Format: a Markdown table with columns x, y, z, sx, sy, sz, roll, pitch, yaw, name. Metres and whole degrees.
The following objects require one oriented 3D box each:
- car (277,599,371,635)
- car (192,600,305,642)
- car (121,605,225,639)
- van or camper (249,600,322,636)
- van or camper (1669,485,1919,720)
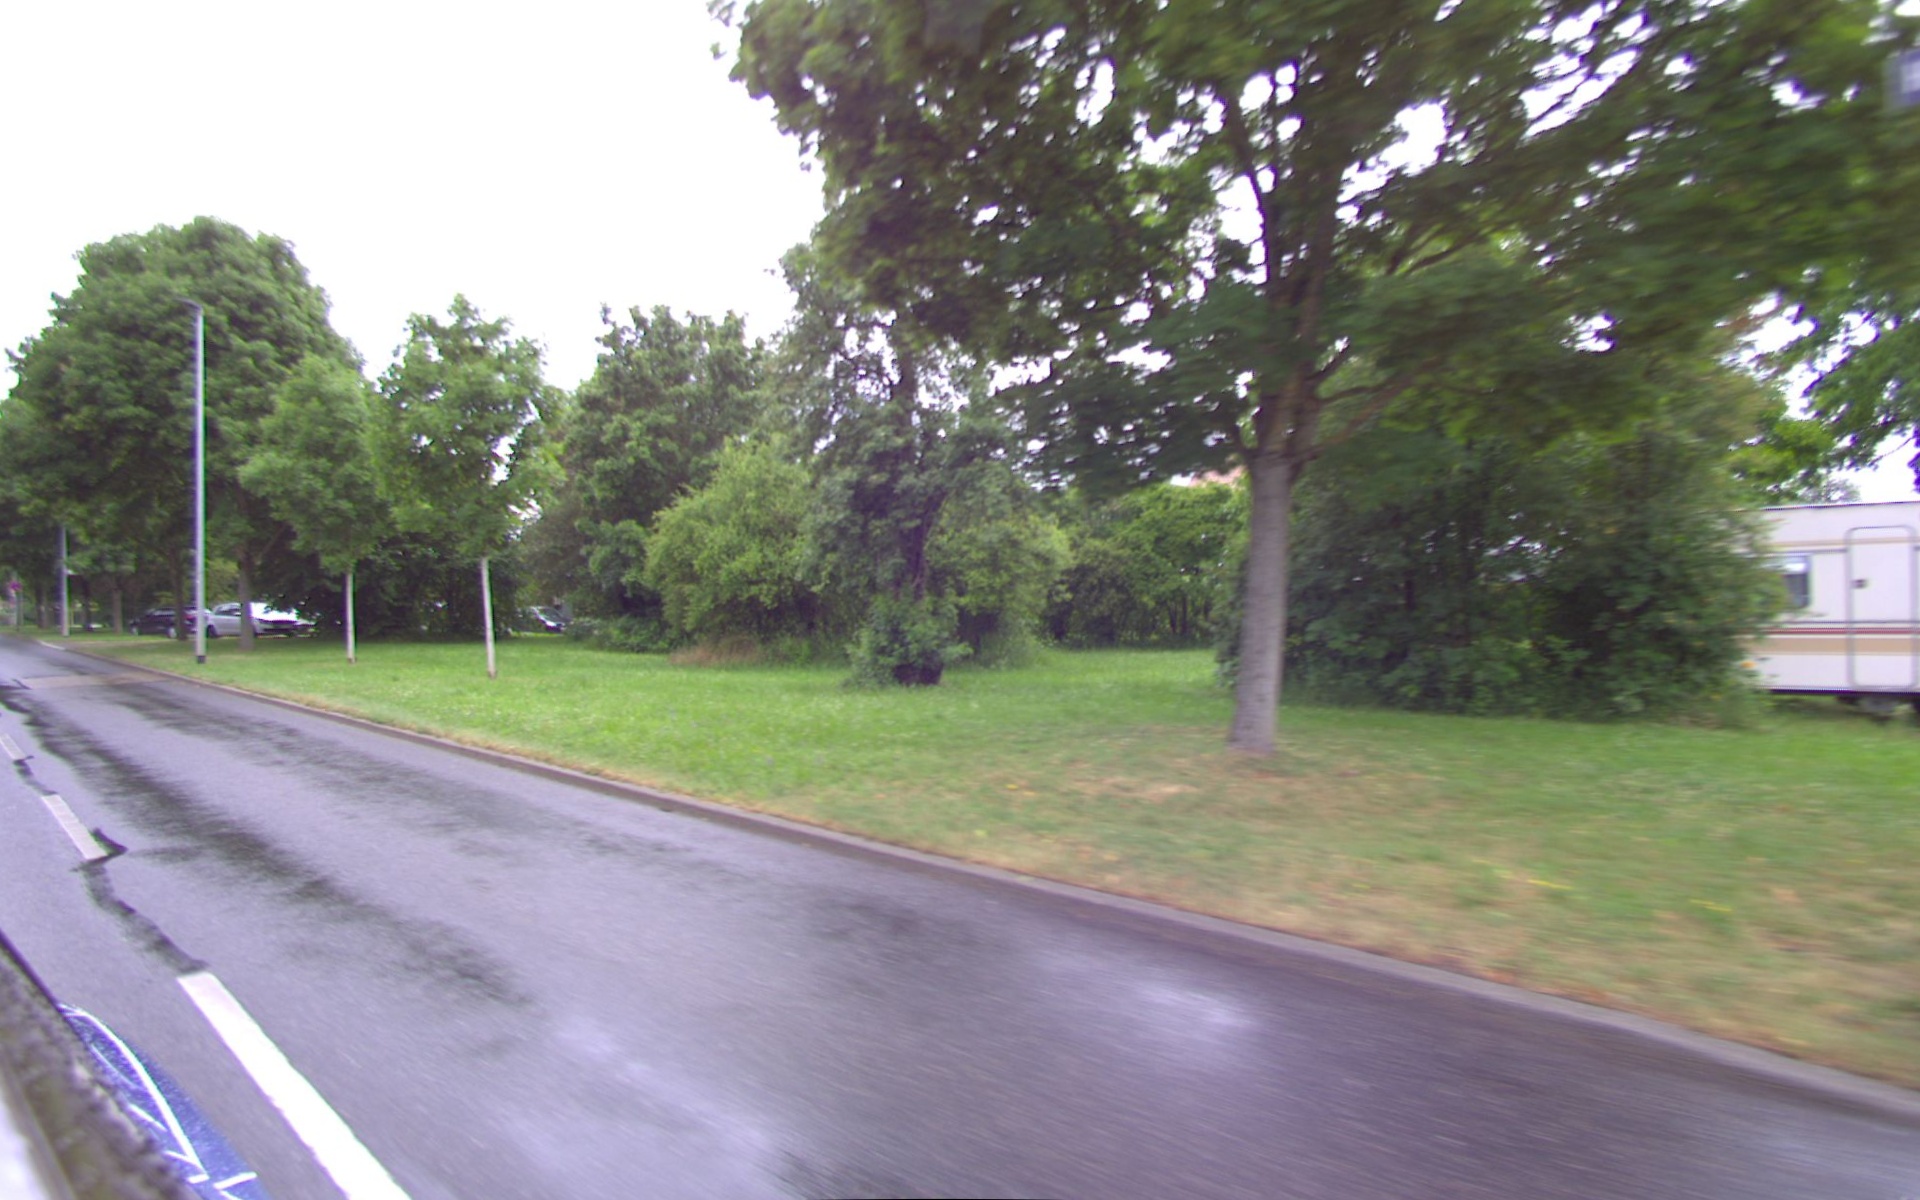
| x | y | z | sx | sy | sz | roll | pitch | yaw | name |
| --- | --- | --- | --- | --- | --- | --- | --- | --- | --- |
| -34.103 | 0.885 | 54.234 | 4.868 | 1.783 | 1.894 | 1 | 0 | 24 | car |
| -28.270 | 0.828 | 40.209 | 4.193 | 1.441 | 1.871 | -4 | -2 | 26 | car |
| -36.799 | 1.024 | 47.351 | 4.216 | 1.525 | 1.883 | 0 | -1 | 19 | car |
| -46.174 | 1.243 | 69.257 | 6.139 | 2.353 | 2.072 | -1 | -1 | 35 | van or camper |
| 11.482 | 0.016 | 10.439 | 6.797 | 2.378 | 2.363 | -1 | -1 | 36 | van or camper |
